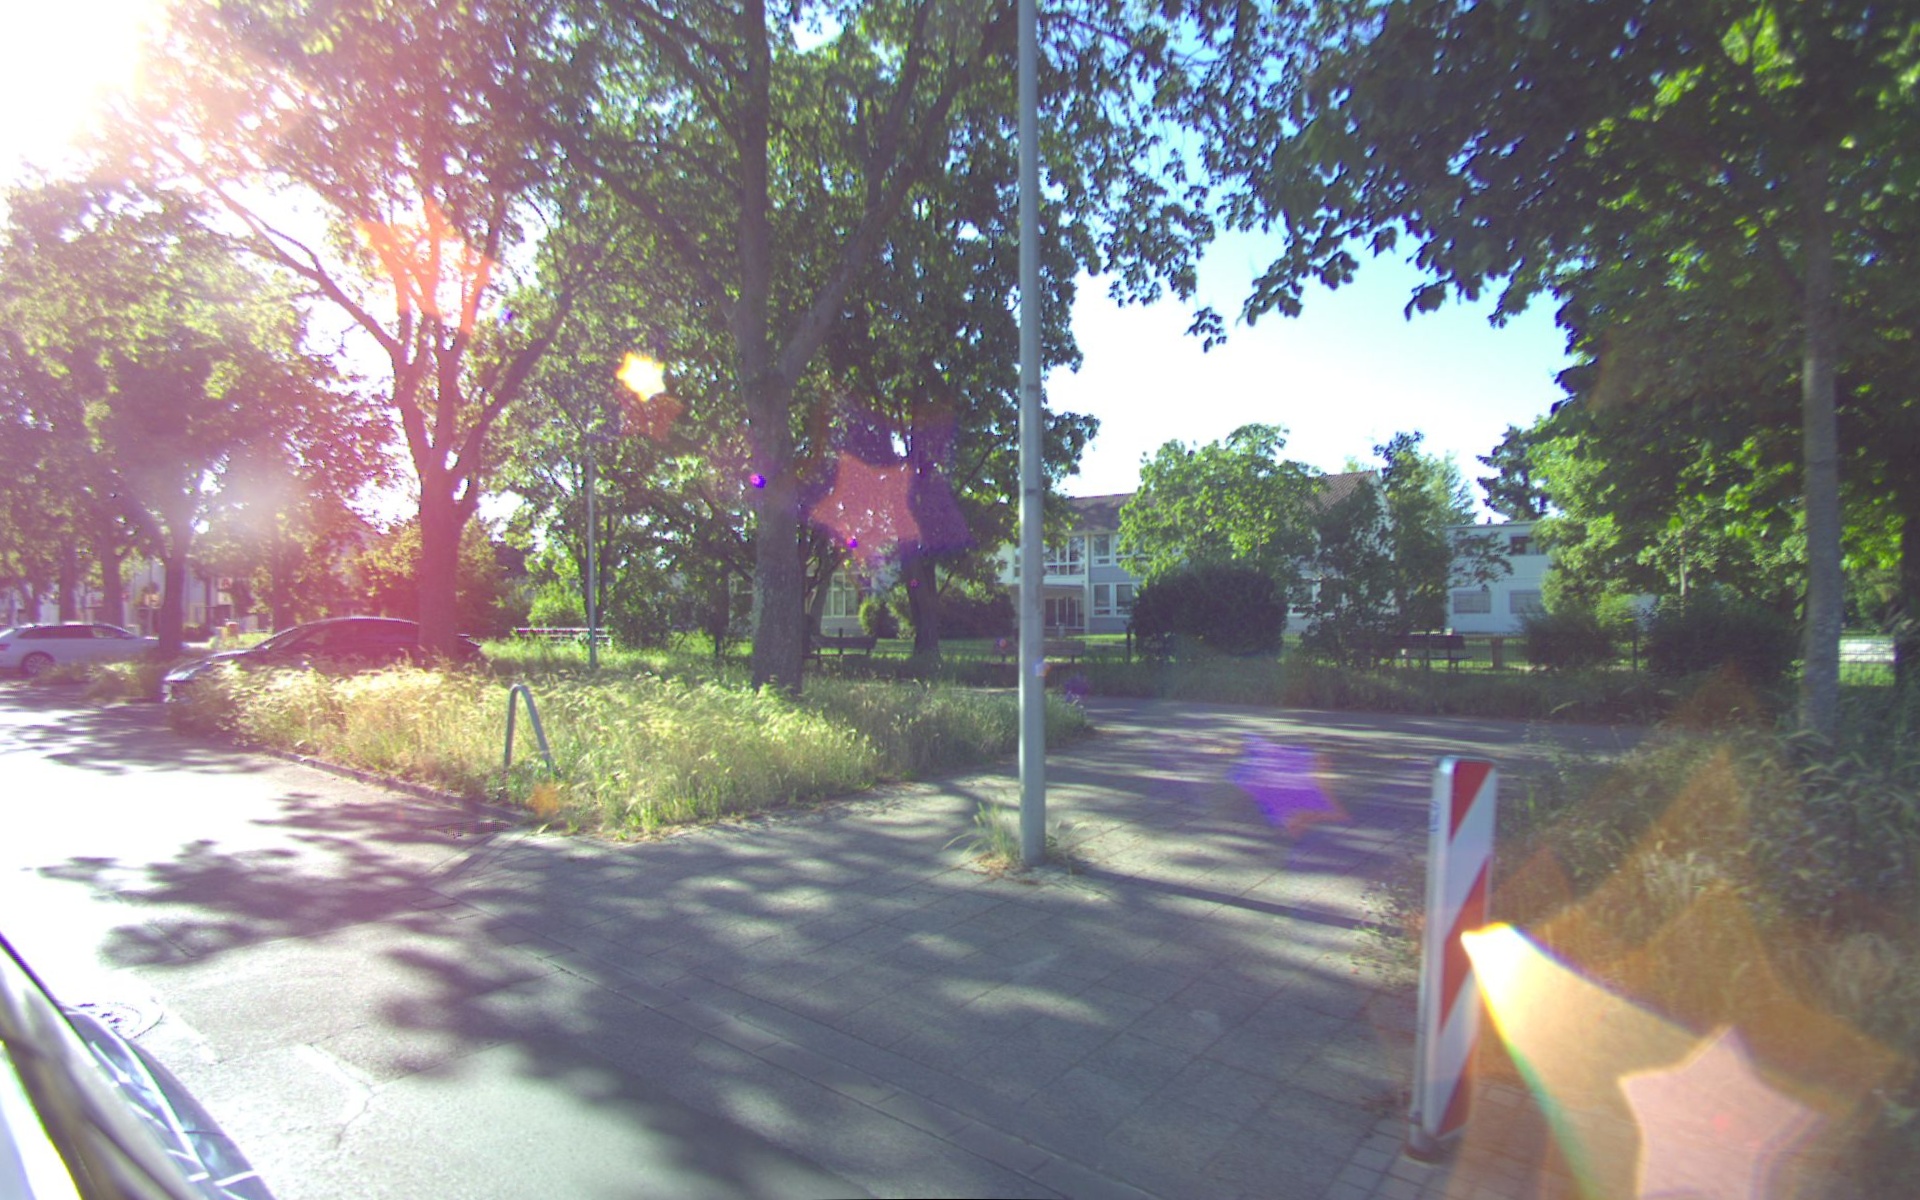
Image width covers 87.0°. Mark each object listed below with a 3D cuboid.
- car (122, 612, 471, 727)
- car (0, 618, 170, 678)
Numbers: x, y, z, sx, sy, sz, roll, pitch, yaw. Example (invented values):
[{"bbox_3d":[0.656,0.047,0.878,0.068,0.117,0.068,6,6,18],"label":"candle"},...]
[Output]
[{"bbox_3d":[-11.027,1.046,17.096,1.999,1.573,4.556,-1,0,41],"label":"car"},{"bbox_3d":[-26.277,1.375,30.031,1.999,1.573,4.150,-1,0,41],"label":"car"}]
